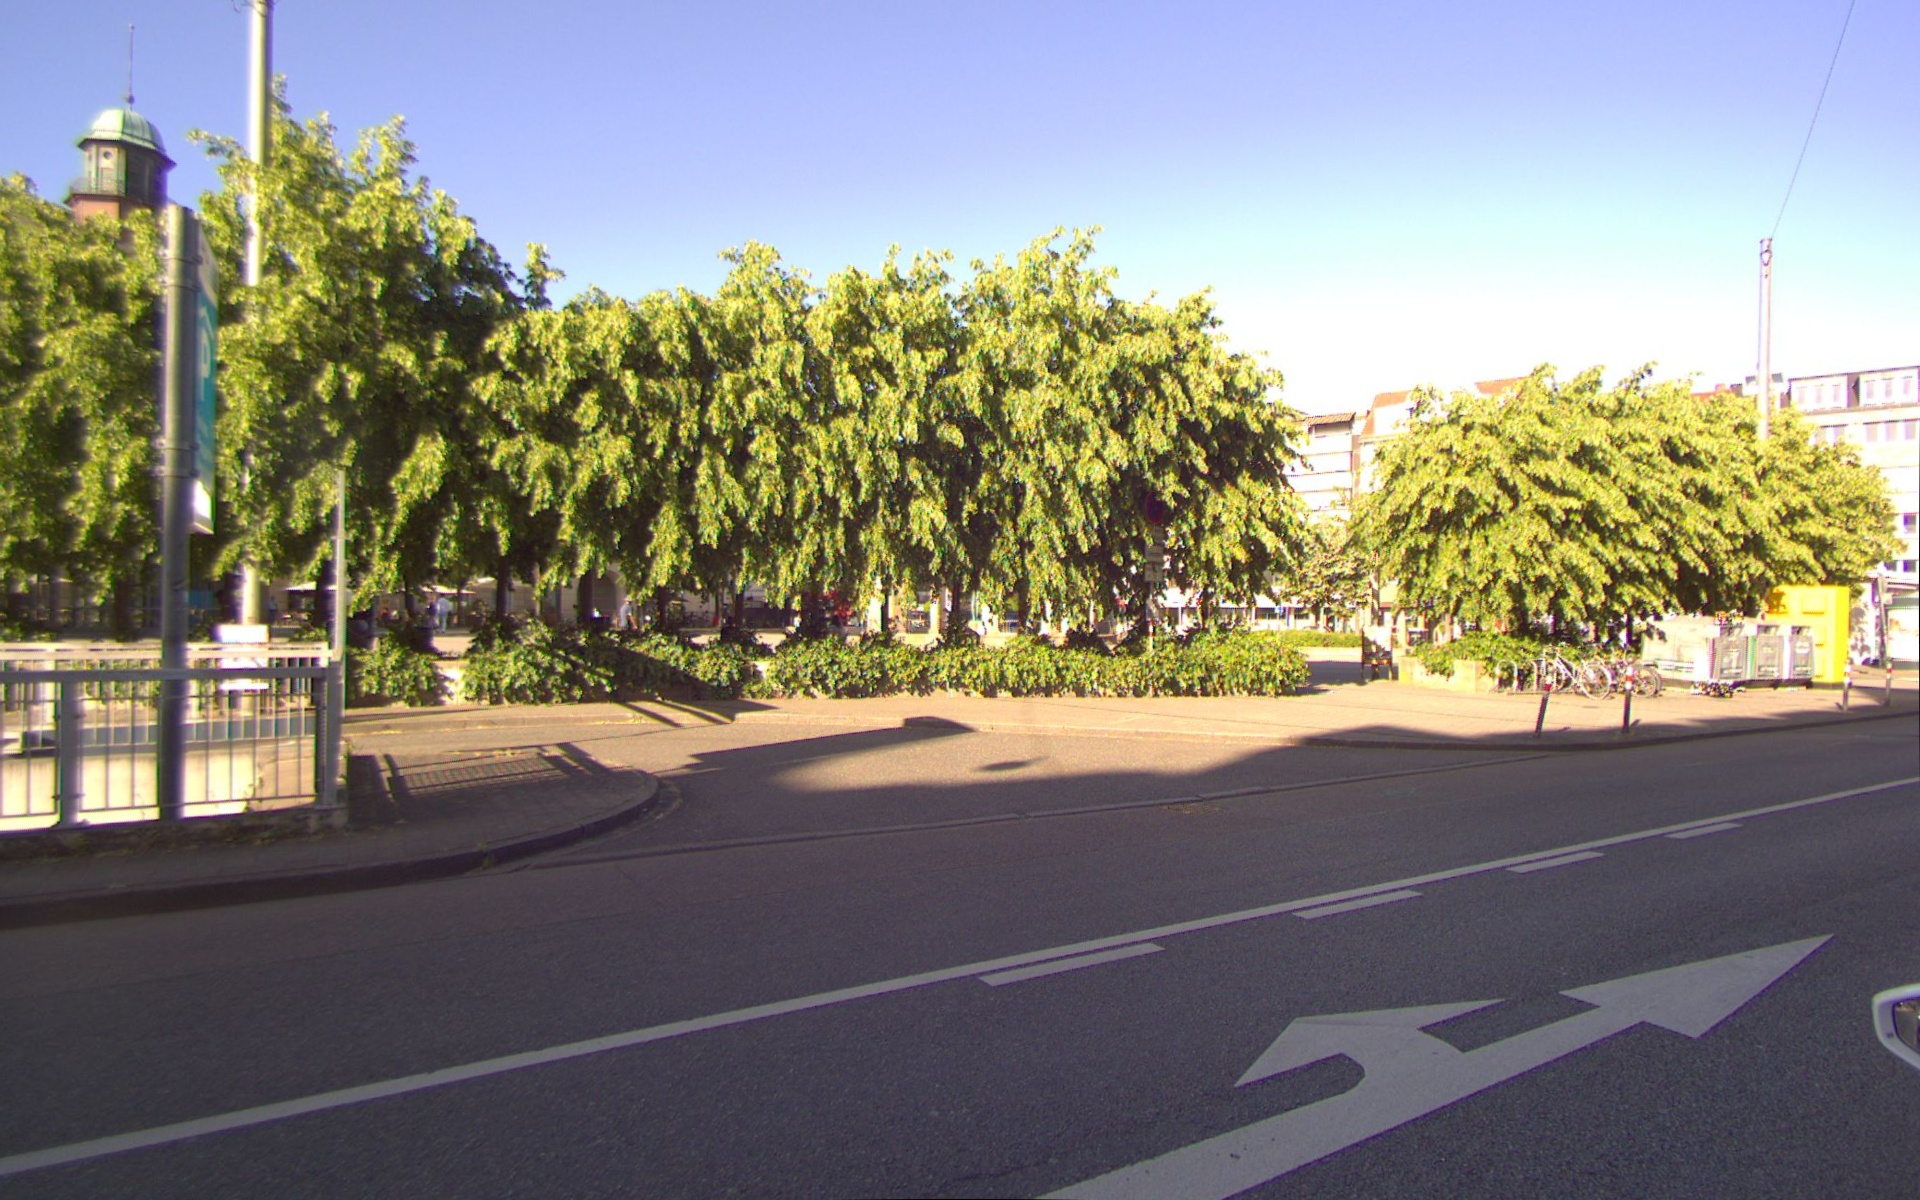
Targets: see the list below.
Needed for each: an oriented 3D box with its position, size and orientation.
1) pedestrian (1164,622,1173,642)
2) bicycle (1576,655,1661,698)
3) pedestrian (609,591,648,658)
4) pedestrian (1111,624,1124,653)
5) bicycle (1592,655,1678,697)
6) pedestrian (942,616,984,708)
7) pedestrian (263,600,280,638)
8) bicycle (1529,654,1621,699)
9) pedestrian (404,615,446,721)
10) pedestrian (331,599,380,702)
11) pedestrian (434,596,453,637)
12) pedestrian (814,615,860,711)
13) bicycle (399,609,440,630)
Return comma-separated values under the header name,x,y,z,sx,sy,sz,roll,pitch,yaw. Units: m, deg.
name,x,y,z,sx,sy,sz,roll,pitch,yaw
pedestrian,19.505,2.976,93.898,0.591,1.816,0.581,1,0,-12
bicycle,13.762,1.587,21.023,0.435,0.779,1.469,1,0,-25
pedestrian,-8.991,0.651,27.257,0.918,1.775,0.729,1,0,-14
pedestrian,11.250,2.779,71.641,0.670,2.040,0.579,1,0,-23
bicycle,14.265,1.583,21.256,0.468,0.779,1.468,1,0,-26
pedestrian,0.063,1.281,20.997,0.574,1.881,0.598,1,0,41
pedestrian,-33.564,0.926,48.941,0.596,1.816,0.576,1,0,-40
bicycle,12.501,1.538,20.472,0.467,0.779,1.654,1,0,-20
pedestrian,-9.758,1.216,18.318,0.595,1.881,0.577,1,0,-33
pedestrian,-11.313,0.934,18.806,0.672,1.881,0.576,1,0,-41
pedestrian,-23.325,0.748,45.333,0.597,1.816,0.575,1,0,-44
pedestrian,-2.466,1.243,20.138,0.722,1.881,0.578,1,0,-27
bicycle,-26.903,0.967,49.993,2.018,1.030,0.504,1,0,16
